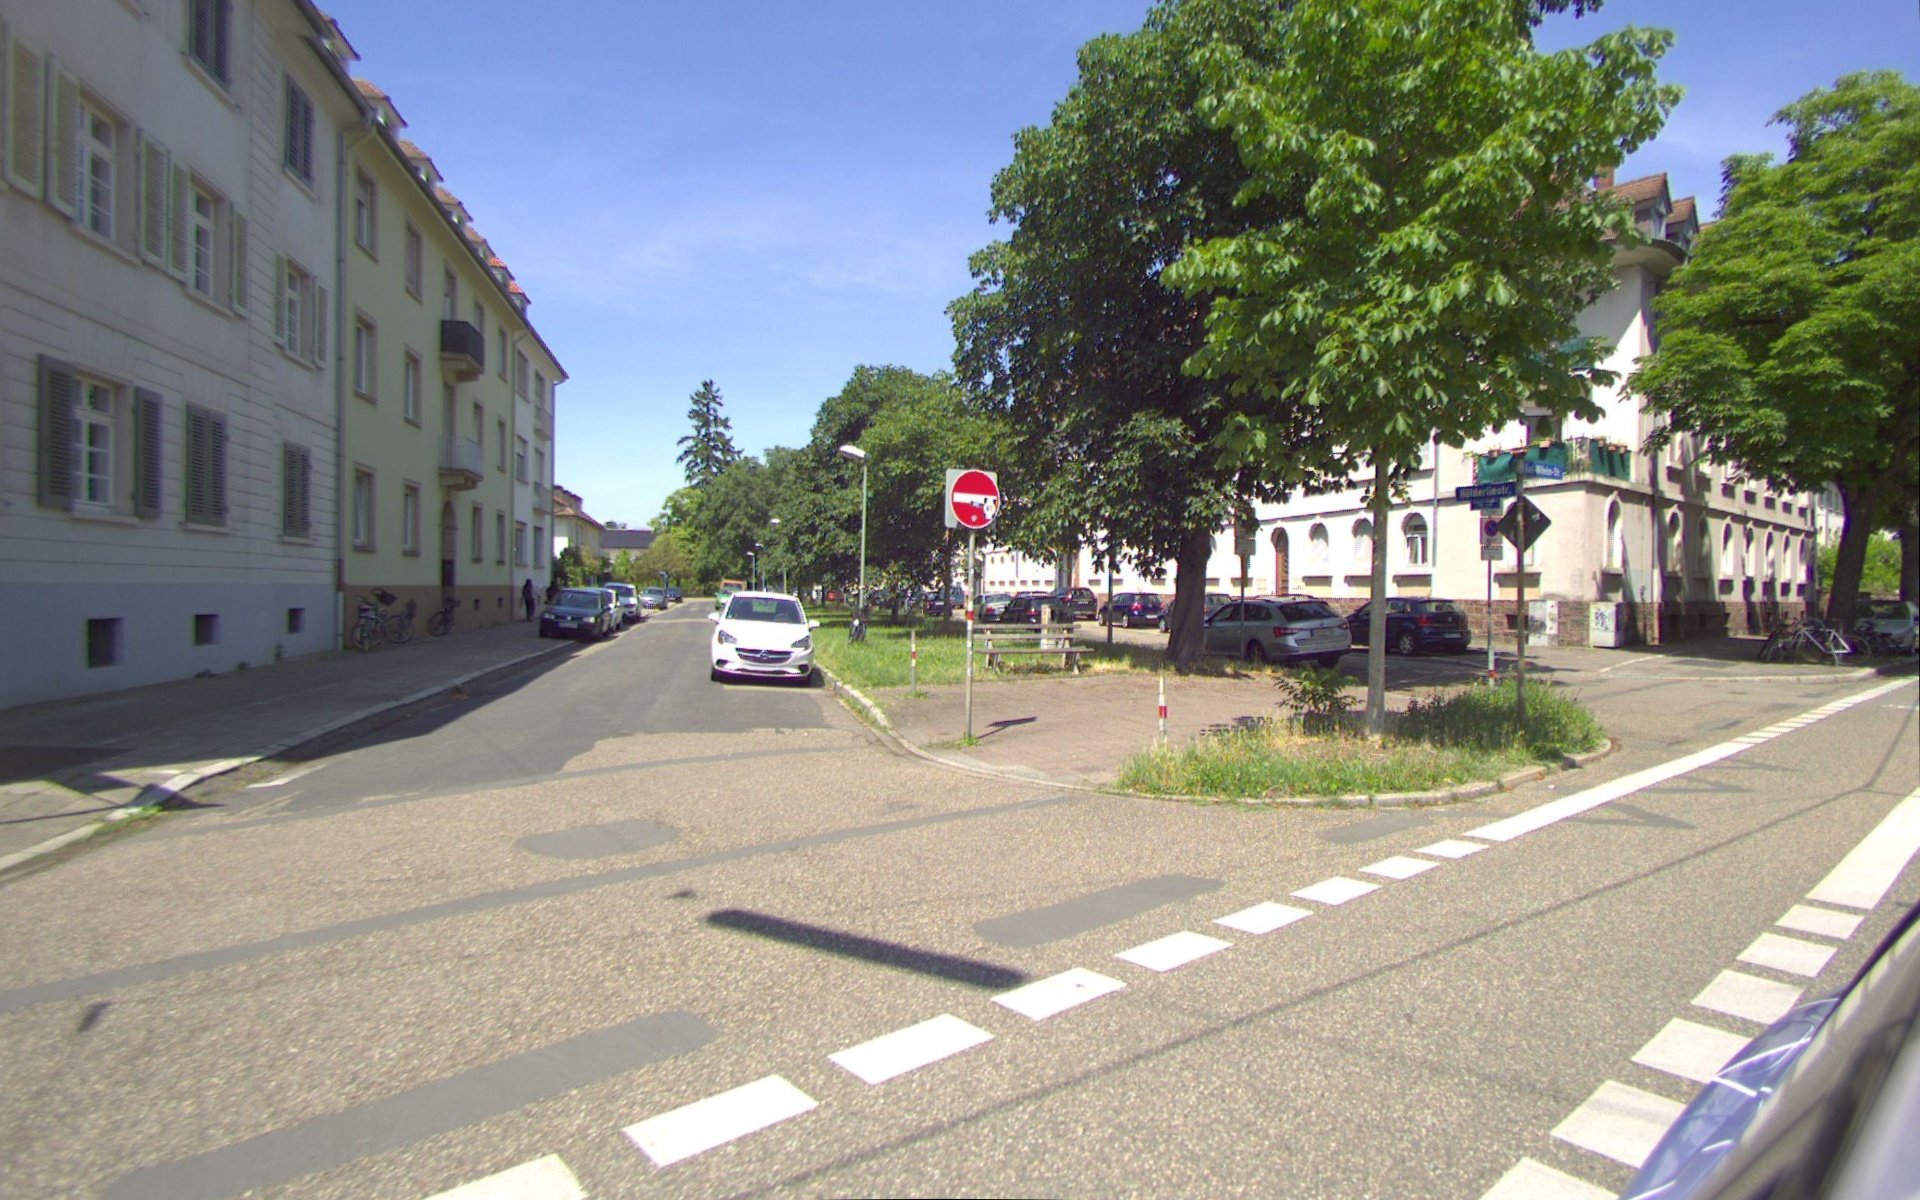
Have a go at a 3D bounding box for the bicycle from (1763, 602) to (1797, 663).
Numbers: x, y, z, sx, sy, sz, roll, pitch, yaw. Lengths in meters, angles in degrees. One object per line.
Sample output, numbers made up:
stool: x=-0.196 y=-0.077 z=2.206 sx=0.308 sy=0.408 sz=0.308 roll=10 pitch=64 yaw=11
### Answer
bicycle: x=17.658 y=0.680 z=21.806 sx=0.281 sy=1.215 sz=1.611 roll=0 pitch=1 yaw=29

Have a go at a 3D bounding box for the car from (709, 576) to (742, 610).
car: x=-14.823 y=-0.468 z=64.199 sx=1.958 sy=2.039 sz=4.008 roll=-1 pitch=1 yaw=-12

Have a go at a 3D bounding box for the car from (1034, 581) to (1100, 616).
car: x=5.208 y=-0.102 z=49.737 sx=1.795 sy=1.678 sz=4.009 roll=0 pitch=1 yaw=-16

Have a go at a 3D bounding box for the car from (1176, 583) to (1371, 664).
car: x=6.543 y=0.465 z=21.768 sx=1.837 sy=1.535 sz=4.685 roll=0 pitch=-1 yaw=-14

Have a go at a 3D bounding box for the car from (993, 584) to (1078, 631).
car: x=2.725 y=0.232 z=37.298 sx=1.958 sy=1.601 sz=4.008 roll=-1 pitch=1 yaw=-14

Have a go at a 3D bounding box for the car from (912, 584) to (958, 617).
car: x=-1.429 y=-0.005 z=55.692 sx=1.728 sy=1.702 sz=3.905 roll=-1 pitch=1 yaw=-14

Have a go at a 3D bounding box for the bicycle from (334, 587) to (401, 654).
bicycle: x=-12.269 y=0.391 z=21.038 sx=0.657 sy=1.279 sz=2.732 roll=2 pitch=0 yaw=-19

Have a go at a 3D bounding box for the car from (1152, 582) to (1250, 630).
car: x=8.642 y=0.161 z=36.639 sx=1.830 sy=1.599 sz=4.008 roll=-1 pitch=1 yaw=-13

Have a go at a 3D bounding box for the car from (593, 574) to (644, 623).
car: x=-14.810 y=-0.104 z=44.043 sx=1.604 sy=2.039 sz=4.339 roll=0 pitch=1 yaw=-12

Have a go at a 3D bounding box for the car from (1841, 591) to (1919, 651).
car: x=25.304 y=0.524 z=27.441 sx=3.567 sy=1.470 sz=1.595 roll=0 pitch=2 yaw=-40

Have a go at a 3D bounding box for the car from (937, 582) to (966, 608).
car: x=-0.659 y=-0.392 z=76.276 sx=1.552 sy=1.900 sz=4.007 roll=-1 pitch=1 yaw=-10

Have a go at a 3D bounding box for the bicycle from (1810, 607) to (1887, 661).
bicycle: x=18.484 y=0.692 z=21.069 sx=0.274 sy=1.076 sz=1.170 roll=-1 pitch=1 yaw=-37

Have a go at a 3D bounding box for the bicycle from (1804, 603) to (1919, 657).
bicycle: x=21.699 y=0.692 z=24.398 sx=0.436 sy=1.215 sz=2.043 roll=-1 pitch=1 yaw=-30

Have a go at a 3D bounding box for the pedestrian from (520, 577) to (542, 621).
pedestrian: x=-16.384 y=-0.035 z=38.664 sx=0.655 sy=1.637 sz=0.802 roll=1 pitch=0 yaw=-18

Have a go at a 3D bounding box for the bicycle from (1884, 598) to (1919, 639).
bicycle: x=28.841 y=0.542 z=30.361 sx=0.299 sy=1.215 sz=1.623 roll=-1 pitch=1 yaw=-38

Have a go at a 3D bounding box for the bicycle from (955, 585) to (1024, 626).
bicycle: x=1.220 y=0.188 z=43.223 sx=1.800 sy=1.666 sz=4.009 roll=-1 pitch=1 yaw=-16

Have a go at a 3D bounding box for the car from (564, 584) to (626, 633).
car: x=-12.962 y=0.257 z=36.117 sx=1.552 sy=1.622 sz=4.008 roll=-1 pitch=1 yaw=-12

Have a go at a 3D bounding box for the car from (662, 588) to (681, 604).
car: x=-26.989 y=-0.352 z=94.609 sx=1.672 sy=1.436 sz=3.805 roll=0 pitch=1 yaw=-17

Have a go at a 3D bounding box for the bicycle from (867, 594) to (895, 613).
bicycle: x=-5.654 y=0.230 z=72.573 sx=1.584 sy=1.323 sz=3.426 roll=-1 pitch=1 yaw=-11

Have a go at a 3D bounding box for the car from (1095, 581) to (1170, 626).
car: x=7.095 y=0.088 z=41.953 sx=1.618 sy=1.751 sz=4.008 roll=-1 pitch=1 yaw=-13

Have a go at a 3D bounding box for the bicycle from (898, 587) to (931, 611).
bicycle: x=-2.777 y=-0.062 z=61.521 sx=1.542 sy=1.410 sz=3.751 roll=0 pitch=1 yaw=-10

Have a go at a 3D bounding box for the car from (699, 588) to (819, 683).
car: x=-3.480 y=0.534 z=17.747 sx=1.815 sy=1.437 sz=4.007 roll=0 pitch=1 yaw=-10

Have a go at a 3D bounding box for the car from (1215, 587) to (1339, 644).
car: x=9.640 y=0.419 z=31.143 sx=1.783 sy=1.521 sz=4.008 roll=-3 pitch=2 yaw=-13

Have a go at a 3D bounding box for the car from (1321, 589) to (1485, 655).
car: x=11.119 y=0.491 z=25.692 sx=1.611 sy=1.465 sz=3.892 roll=-1 pitch=2 yaw=-18

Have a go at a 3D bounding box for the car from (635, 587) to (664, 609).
car: x=-21.160 y=-0.166 z=69.055 sx=1.750 sy=1.416 sz=3.906 roll=0 pitch=1 yaw=-15

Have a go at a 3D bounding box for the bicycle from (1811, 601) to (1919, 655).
bicycle: x=22.108 y=0.658 z=24.685 sx=0.436 sy=1.215 sz=2.043 roll=-1 pitch=1 yaw=-30

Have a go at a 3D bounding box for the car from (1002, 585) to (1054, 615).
car: x=3.741 y=-0.014 z=56.411 sx=1.552 sy=1.578 sz=4.009 roll=-1 pitch=1 yaw=-16

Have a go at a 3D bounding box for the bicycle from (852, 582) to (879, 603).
bicycle: x=-7.527 y=-0.607 z=80.602 sx=1.747 sy=1.610 sz=4.007 roll=-1 pitch=1 yaw=-11

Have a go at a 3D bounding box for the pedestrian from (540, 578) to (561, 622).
pedestrian: x=-15.714 y=-0.007 z=38.873 sx=0.655 sy=1.685 sz=0.802 roll=-1 pitch=1 yaw=-18

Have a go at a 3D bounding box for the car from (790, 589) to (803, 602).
car: x=-19.202 y=-0.546 z=118.850 sx=1.556 sy=1.503 sz=3.539 roll=-1 pitch=1 yaw=-9

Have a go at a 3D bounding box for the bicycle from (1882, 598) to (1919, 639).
bicycle: x=28.572 y=0.548 z=30.141 sx=0.299 sy=1.215 sz=1.623 roll=-1 pitch=1 yaw=-38

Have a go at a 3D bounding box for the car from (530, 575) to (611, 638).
car: x=-11.464 y=0.158 z=30.007 sx=1.958 sy=1.730 sz=4.009 roll=0 pitch=1 yaw=-17
